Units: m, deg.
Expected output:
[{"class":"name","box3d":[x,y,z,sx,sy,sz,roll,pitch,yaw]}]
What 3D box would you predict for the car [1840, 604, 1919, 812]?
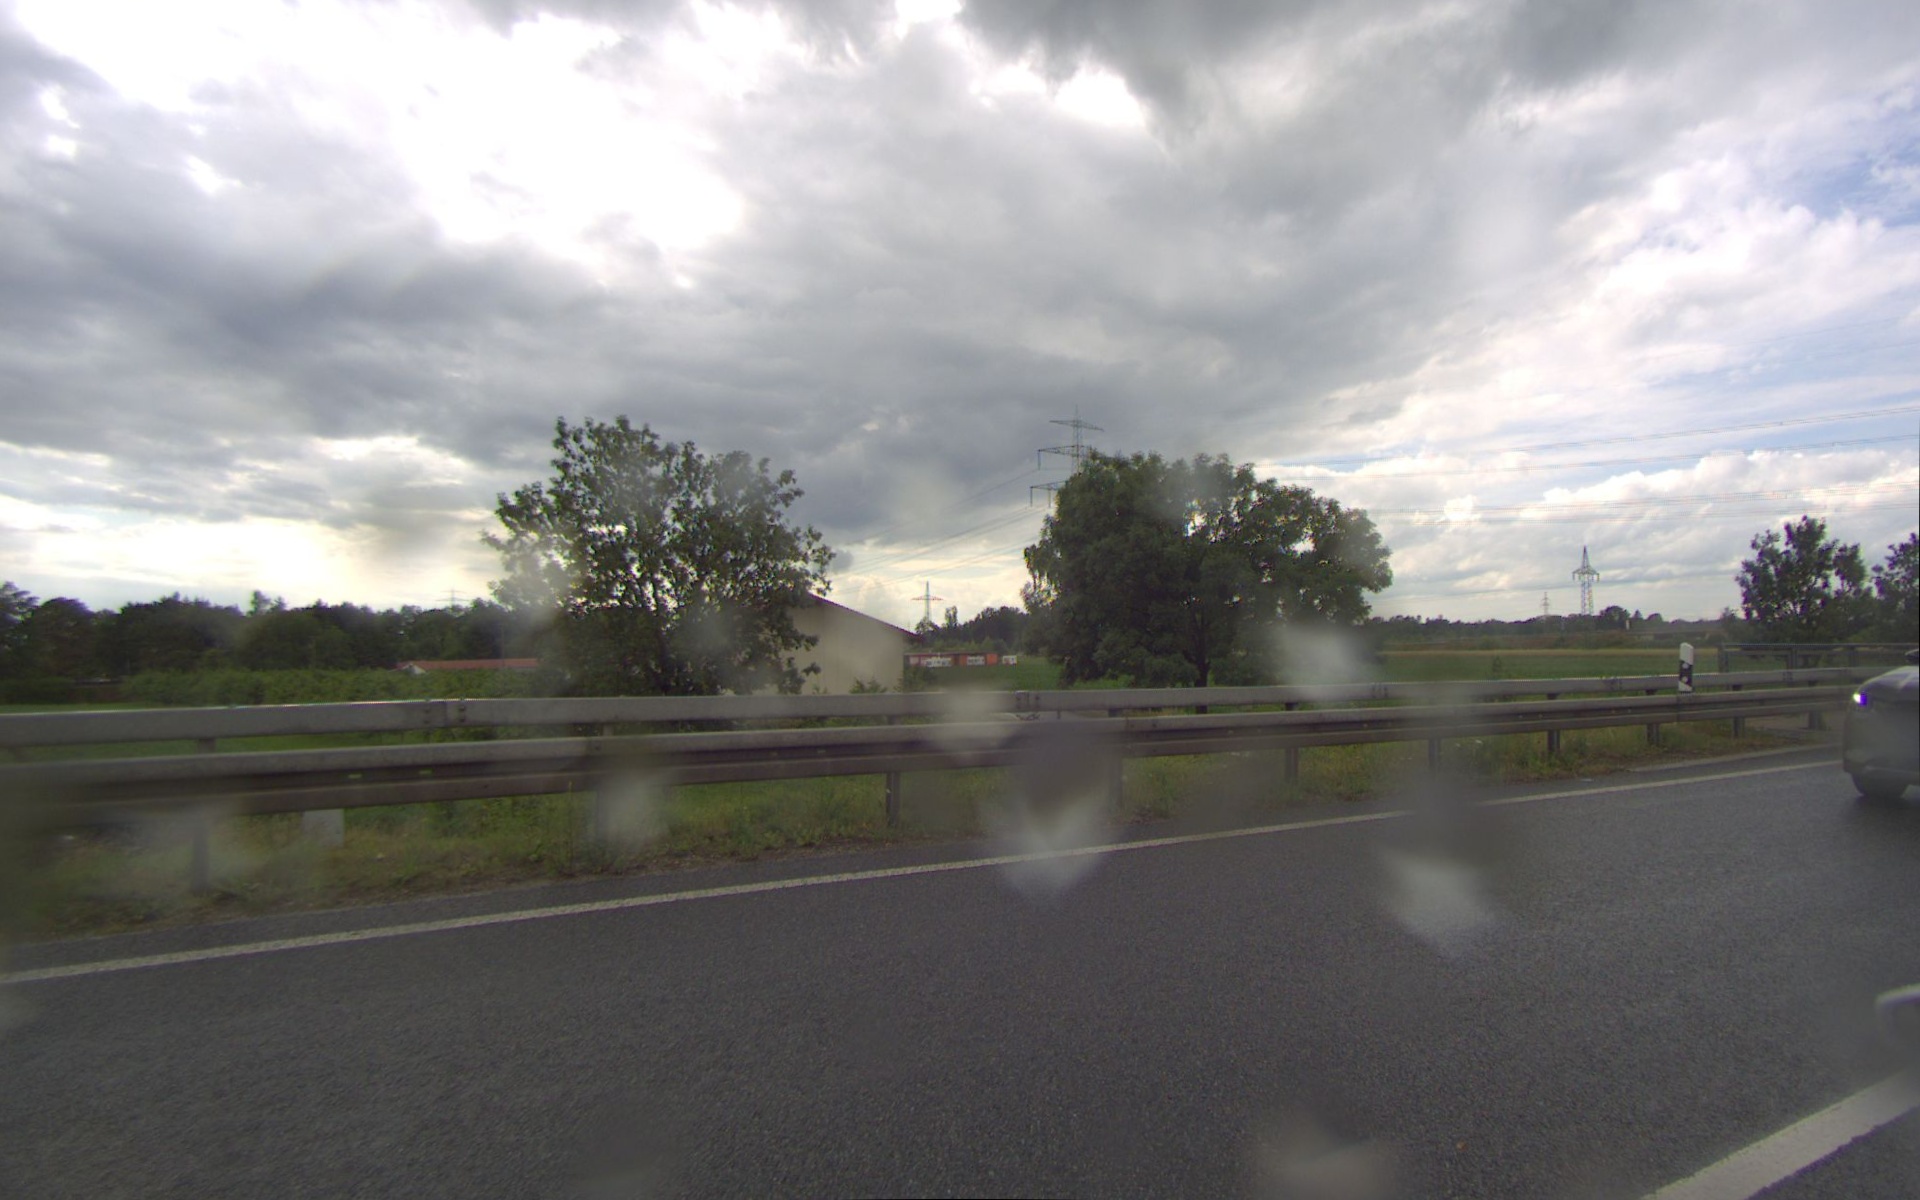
[{"class":"car","box3d":[9.840,0.892,8.836,4.468,1.676,1.739,1,-1,-29]}]
